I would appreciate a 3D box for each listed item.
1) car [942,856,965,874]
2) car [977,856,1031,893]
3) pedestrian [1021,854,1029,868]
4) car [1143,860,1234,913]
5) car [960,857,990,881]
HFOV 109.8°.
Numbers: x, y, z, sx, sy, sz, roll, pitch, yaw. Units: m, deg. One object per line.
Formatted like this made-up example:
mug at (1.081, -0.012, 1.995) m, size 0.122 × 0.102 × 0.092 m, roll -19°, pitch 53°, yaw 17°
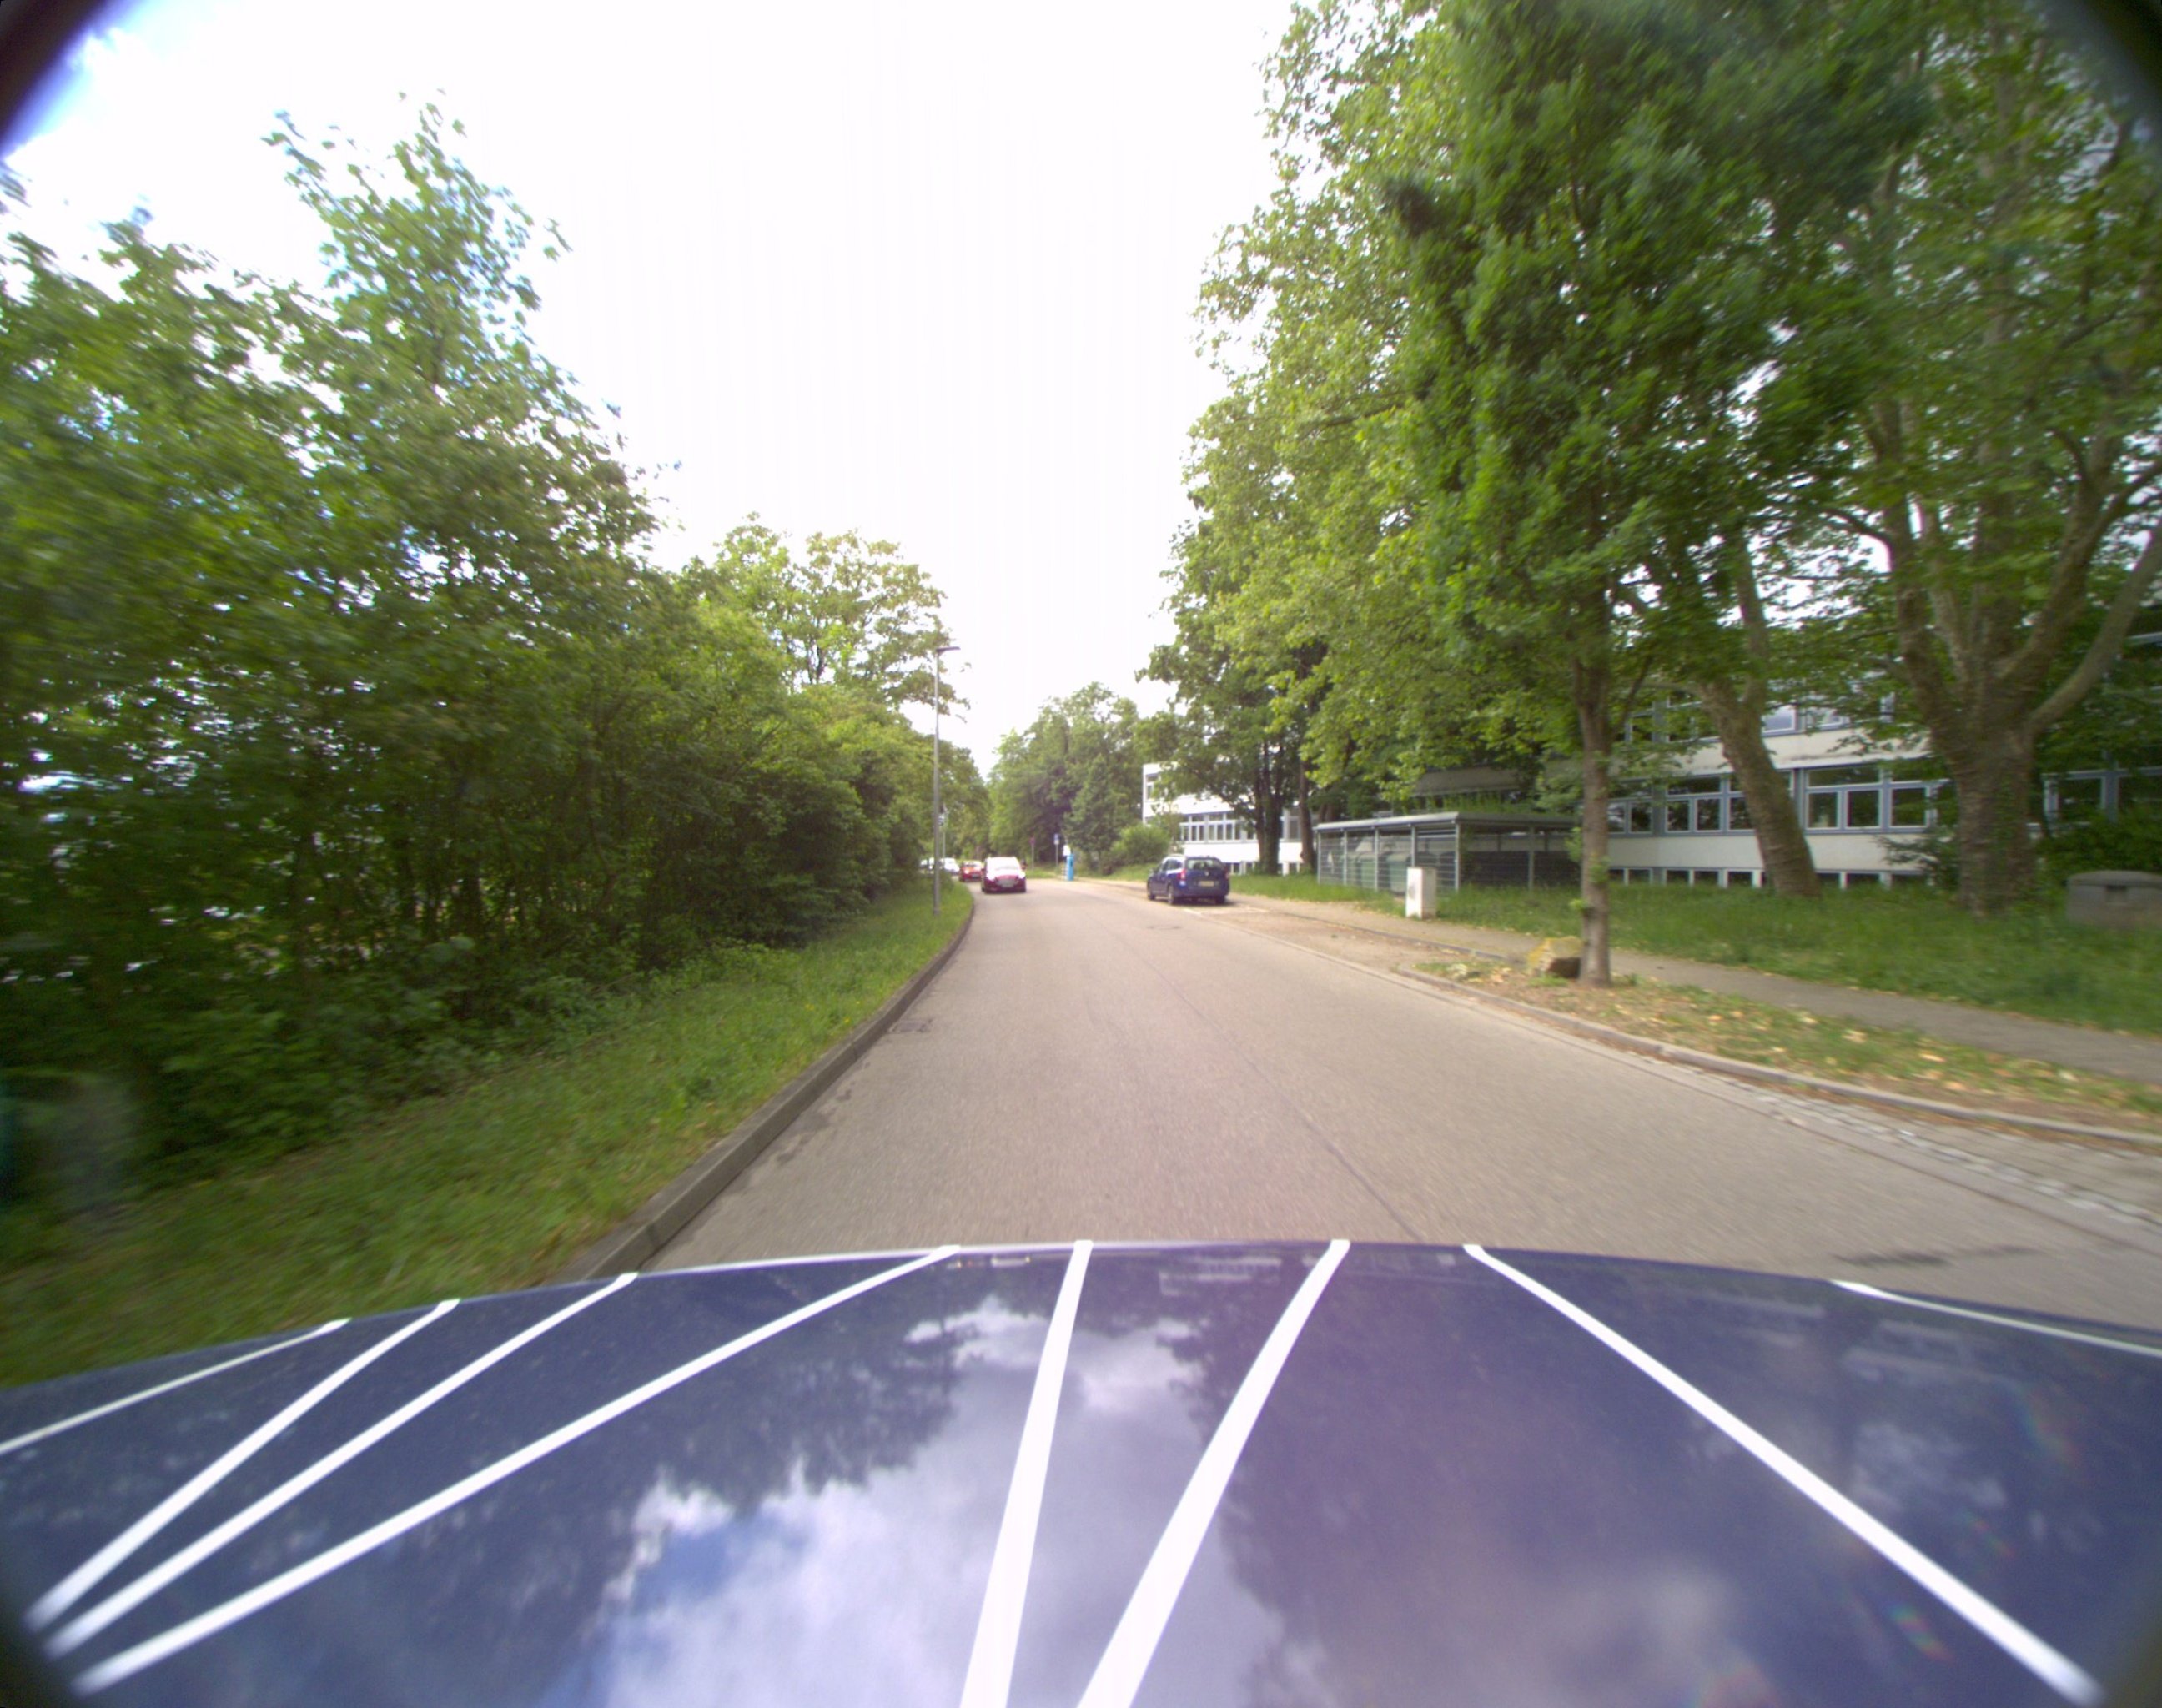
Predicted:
car at (-12.124, 1.033, 72.179) m, size 1.922 × 1.587 × 3.894 m, roll 1°, pitch -1°, yaw -12°
car at (-3.689, 0.929, 35.847) m, size 1.863 × 1.608 × 4.470 m, roll -2°, pitch 0°, yaw -14°
pedestrian at (-7.023, 0.857, 94.988) m, size 0.763 × 1.652 × 0.808 m, roll 1°, pitch 0°, yaw -16°
car at (3.332, 0.959, 24.462) m, size 1.685 × 1.503 × 4.427 m, roll 0°, pitch 0°, yaw -9°
car at (-7.523, 1.047, 53.734) m, size 2.000 × 1.564 × 3.997 m, roll 1°, pitch -1°, yaw -10°
